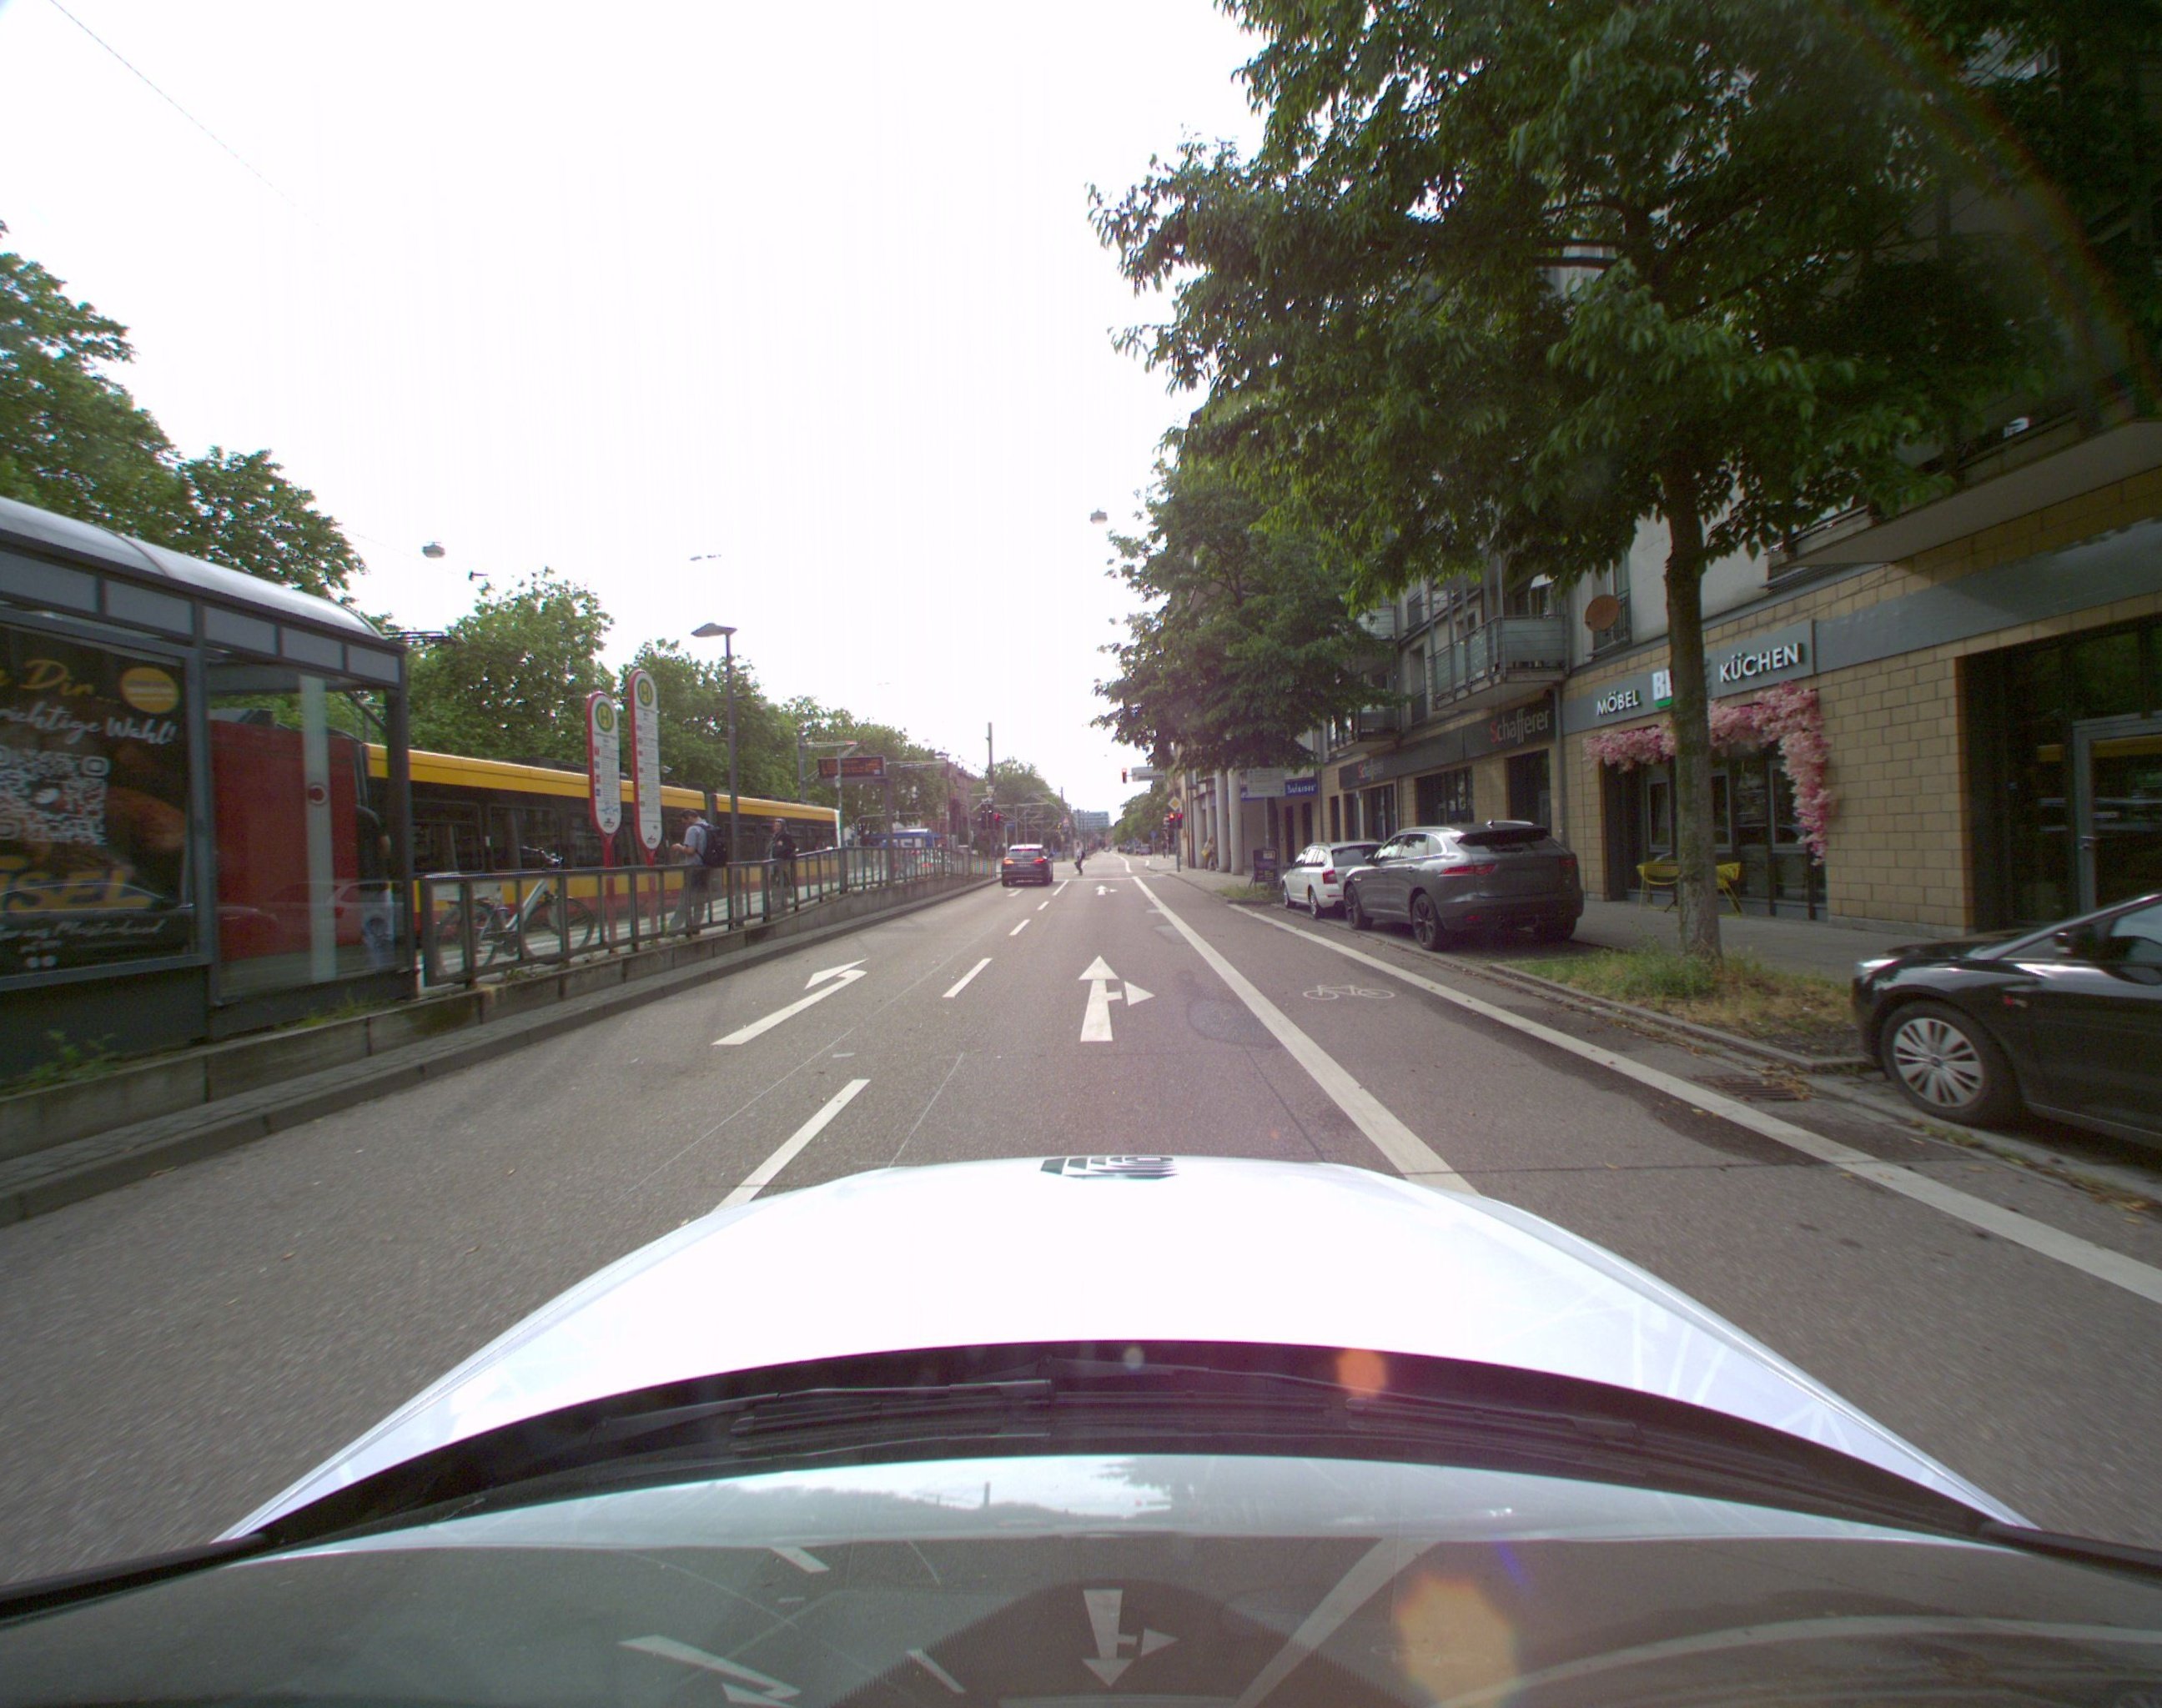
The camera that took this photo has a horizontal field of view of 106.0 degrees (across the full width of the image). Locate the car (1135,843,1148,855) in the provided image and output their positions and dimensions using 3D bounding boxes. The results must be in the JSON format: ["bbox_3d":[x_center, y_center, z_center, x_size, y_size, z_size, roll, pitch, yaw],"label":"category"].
[{"bbox_3d":[9.815,-0.829,132.068,1.986,2.013,4.002,-1,0,1],"label":"car"}]

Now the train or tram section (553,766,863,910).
[{"bbox_3d":[-11.495,-0.447,28.400,3.048,3.588,15.855,-1,0,2],"label":"train or tram section"}]

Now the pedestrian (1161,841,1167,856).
[{"bbox_3d":[8.642,-0.594,84.930,0.544,1.537,0.465,-1,0,-3],"label":"pedestrian"}]

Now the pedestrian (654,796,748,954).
[{"bbox_3d":[-5.057,0.263,10.871,0.746,2.013,0.823,-1,0,24],"label":"pedestrian"}]

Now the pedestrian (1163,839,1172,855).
[{"bbox_3d":[8.818,-0.735,83.072,0.848,1.654,0.508,-1,0,-1],"label":"pedestrian"}]

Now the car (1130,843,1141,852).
[{"bbox_3d":[10.690,-1.256,160.882,1.986,1.607,4.165,-3,0,1],"label":"car"}]

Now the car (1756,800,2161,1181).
[{"bbox_3d":[5.029,0.507,2.899,1.669,1.441,4.411,-5,0,3],"label":"car"}]

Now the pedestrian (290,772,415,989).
[{"bbox_3d":[-5.703,0.199,6.398,0.529,1.632,0.471,-1,0,-1],"label":"pedestrian"}]

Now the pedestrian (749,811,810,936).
[{"bbox_3d":[-5.065,0.314,13.664,0.758,2.013,0.809,-1,0,-36],"label":"pedestrian"}]

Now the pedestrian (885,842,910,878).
[{"bbox_3d":[-9.165,0.292,40.710,1.132,1.778,0.625,-2,0,-16],"label":"pedestrian"}]

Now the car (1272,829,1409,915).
[{"bbox_3d":[5.410,0.331,17.567,1.669,1.498,4.393,-5,0,3],"label":"car"}]

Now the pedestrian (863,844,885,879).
[{"bbox_3d":[-10.698,0.382,42.136,1.015,1.813,0.580,-1,0,-22],"label":"pedestrian"}]

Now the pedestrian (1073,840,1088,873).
[{"bbox_3d":[-0.033,0.137,41.662,0.725,1.661,0.756,-1,0,1],"label":"pedestrian"}]

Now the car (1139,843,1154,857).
[{"bbox_3d":[9.808,-0.656,122.628,1.986,2.013,4.002,-1,0,1],"label":"car"}]

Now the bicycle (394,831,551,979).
[{"bbox_3d":[-5.468,0.415,7.399,0.417,1.222,1.290,-1,0,1],"label":"bicycle"}]

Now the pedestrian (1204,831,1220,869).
[{"bbox_3d":[6.431,-0.181,39.907,0.613,1.805,0.738,-3,0,3],"label":"pedestrian"}]

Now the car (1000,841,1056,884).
[{"bbox_3d":[-2.108,0.300,33.476,1.873,1.601,4.358,-1,0,1],"label":"car"}]

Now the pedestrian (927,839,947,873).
[{"bbox_3d":[-7.751,0.091,43.817,0.906,1.784,0.651,-1,0,39],"label":"pedestrian"}]

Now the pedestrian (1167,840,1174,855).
[{"bbox_3d":[9.232,-0.631,84.239,0.651,1.537,0.465,-1,0,-3],"label":"pedestrian"}]

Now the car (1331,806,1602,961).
[{"bbox_3d":[5.348,0.341,12.121,1.706,1.717,4.711,-5,0,0],"label":"car"}]

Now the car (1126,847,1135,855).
[{"bbox_3d":[12.421,-0.794,204.987,1.986,2.013,4.002,-1,0,2],"label":"car"}]

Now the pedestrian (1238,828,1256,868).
[{"bbox_3d":[8.098,-0.302,39.811,0.672,1.890,0.738,-3,0,3],"label":"pedestrian"}]

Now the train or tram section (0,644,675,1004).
[{"bbox_3d":[-11.974,-0.309,12.837,3.048,3.531,15.301,-1,0,2],"label":"train or tram section"}]
